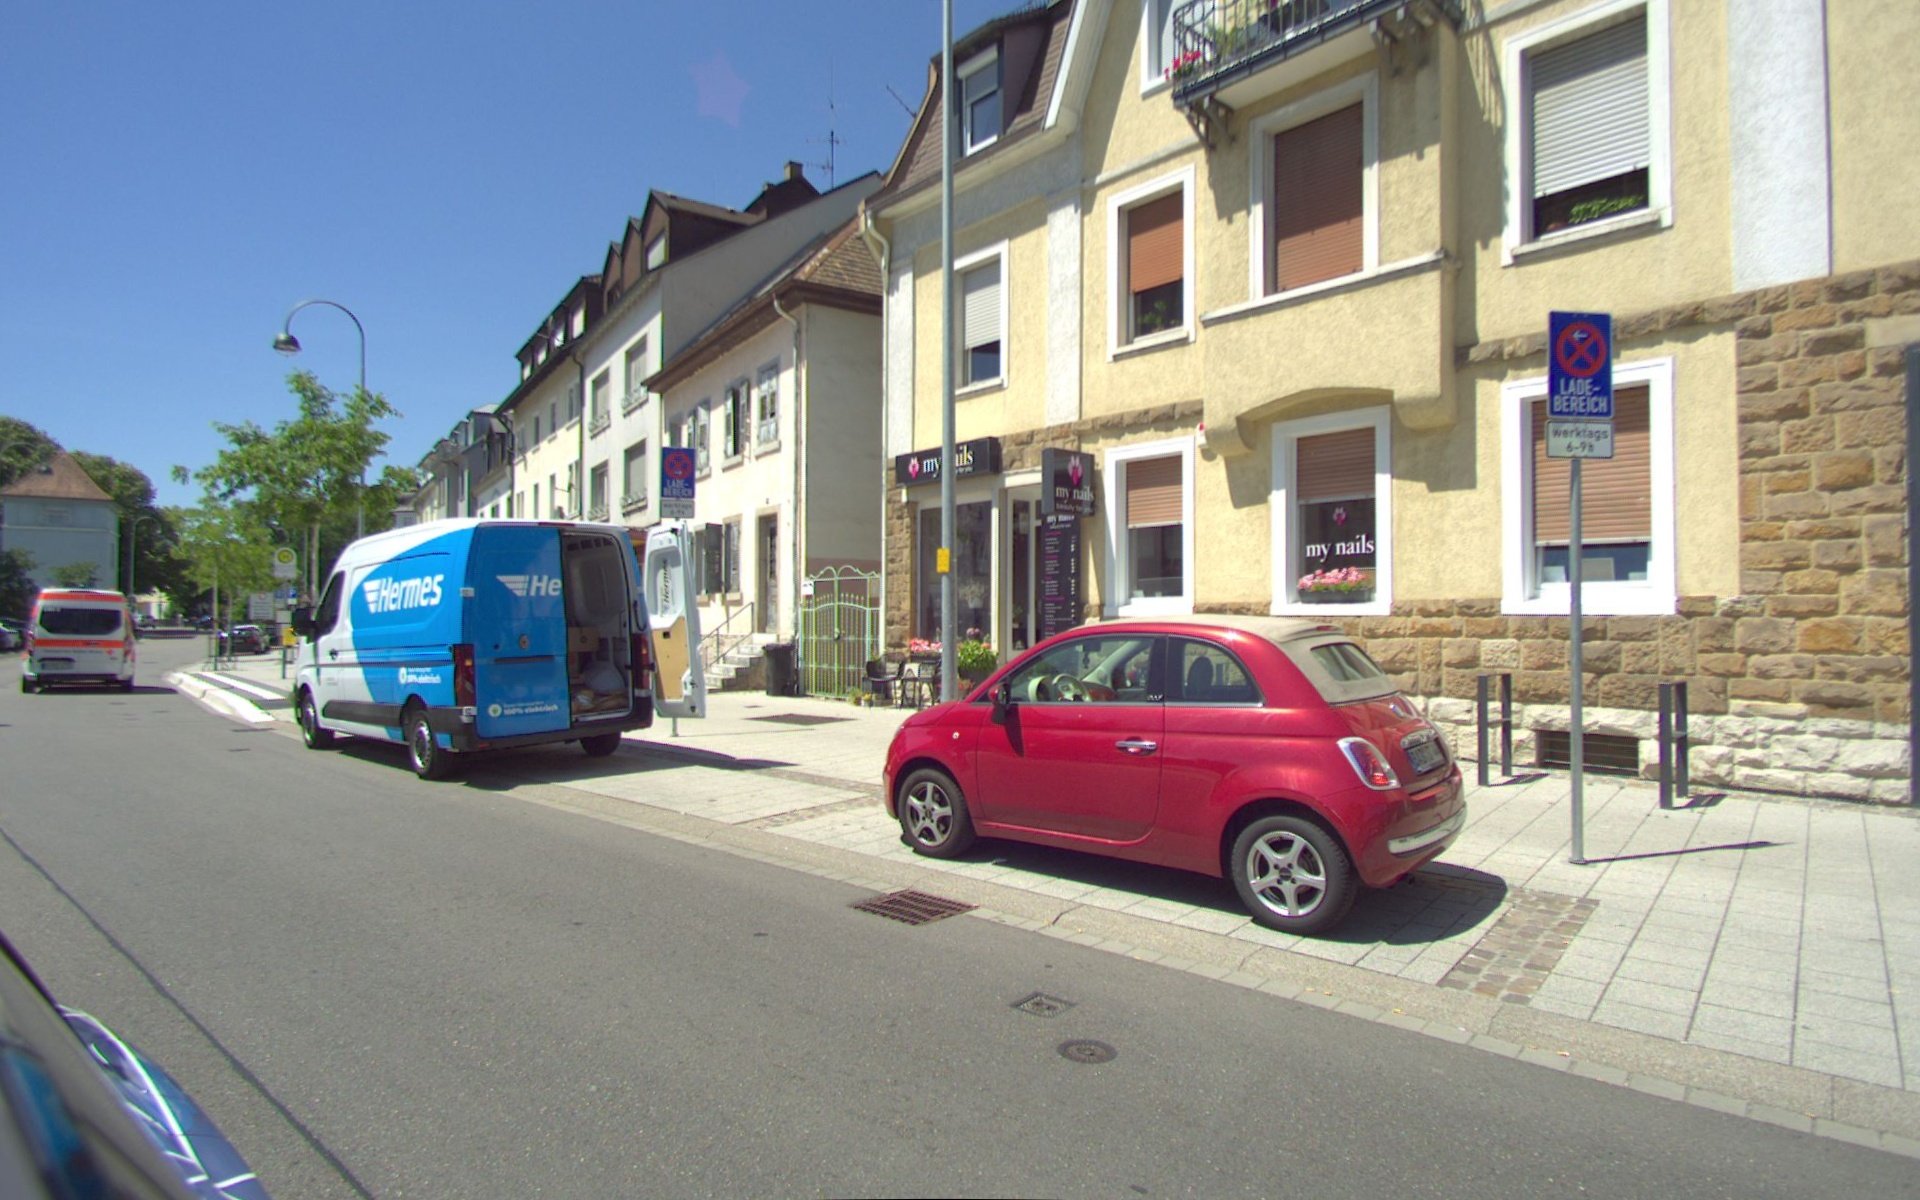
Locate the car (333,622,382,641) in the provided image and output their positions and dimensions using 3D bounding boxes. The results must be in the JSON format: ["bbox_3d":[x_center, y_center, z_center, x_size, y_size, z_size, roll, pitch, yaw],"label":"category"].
[{"bbox_3d":[-59.193,3.086,99.479,4.012,1.752,1.820,2,-2,-28],"label":"car"}]

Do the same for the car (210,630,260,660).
[{"bbox_3d":[-40.109,2.480,56.053,1.657,1.495,3.780,-2,0,-27],"label":"car"}]

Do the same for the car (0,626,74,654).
[{"bbox_3d":[-54.467,2.322,58.820,4.289,1.563,1.656,2,-2,-35],"label":"car"}]

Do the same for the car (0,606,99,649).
[{"bbox_3d":[-60.508,1.880,67.215,4.788,2.757,1.856,2,-2,-32],"label":"car"}]

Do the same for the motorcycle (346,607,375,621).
[{"bbox_3d":[-56.116,1.314,94.672,2.285,1.335,0.728,2,-2,-30],"label":"motorcycle"}]

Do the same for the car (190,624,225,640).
[{"bbox_3d":[-74.695,3.219,100.490,3.854,1.465,1.602,0,-3,35],"label":"car"}]

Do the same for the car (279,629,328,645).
[{"bbox_3d":[-67.653,3.796,104.307,1.824,1.548,3.909,0,-2,23],"label":"car"}]

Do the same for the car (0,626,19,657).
[{"bbox_3d":[-47.926,1.990,48.559,3.757,1.494,1.783,2,-2,-34],"label":"car"}]

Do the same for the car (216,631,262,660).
[{"bbox_3d":[-37.141,2.339,52.184,1.730,1.456,4.461,2,-3,-33],"label":"car"}]

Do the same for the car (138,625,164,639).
[{"bbox_3d":[-89.434,3.525,111.863,4.085,1.495,1.662,-2,-3,43],"label":"car"}]

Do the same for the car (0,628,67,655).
[{"bbox_3d":[-51.597,2.272,55.420,3.756,1.473,1.656,2,-2,-34],"label":"car"}]

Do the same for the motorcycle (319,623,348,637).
[{"bbox_3d":[-59.852,2.897,96.712,2.285,1.335,0.728,2,-2,-30],"label":"motorcycle"}]

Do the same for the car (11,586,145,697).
[{"bbox_3d":[-21.085,0.994,24.274,2.129,2.380,5.255,3,-4,-41],"label":"car"}]

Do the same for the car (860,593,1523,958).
[{"bbox_3d":[1.191,0.752,5.974,3.512,1.532,1.544,0,-1,40],"label":"car"}]

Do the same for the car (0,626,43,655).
[{"bbox_3d":[-50.779,2.111,53.169,3.559,1.473,1.621,3,-3,-34],"label":"car"}]

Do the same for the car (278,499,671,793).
[{"bbox_3d":[-5.653,0.441,11.327,5.503,2.517,2.069,-2,-1,43],"label":"car"}]

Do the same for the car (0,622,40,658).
[{"bbox_3d":[-49.138,1.996,51.023,3.757,1.800,1.845,2,-2,-34],"label":"car"}]

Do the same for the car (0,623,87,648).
[{"bbox_3d":[-57.417,2.234,63.044,4.310,1.541,1.724,2,-3,-32],"label":"car"}]
